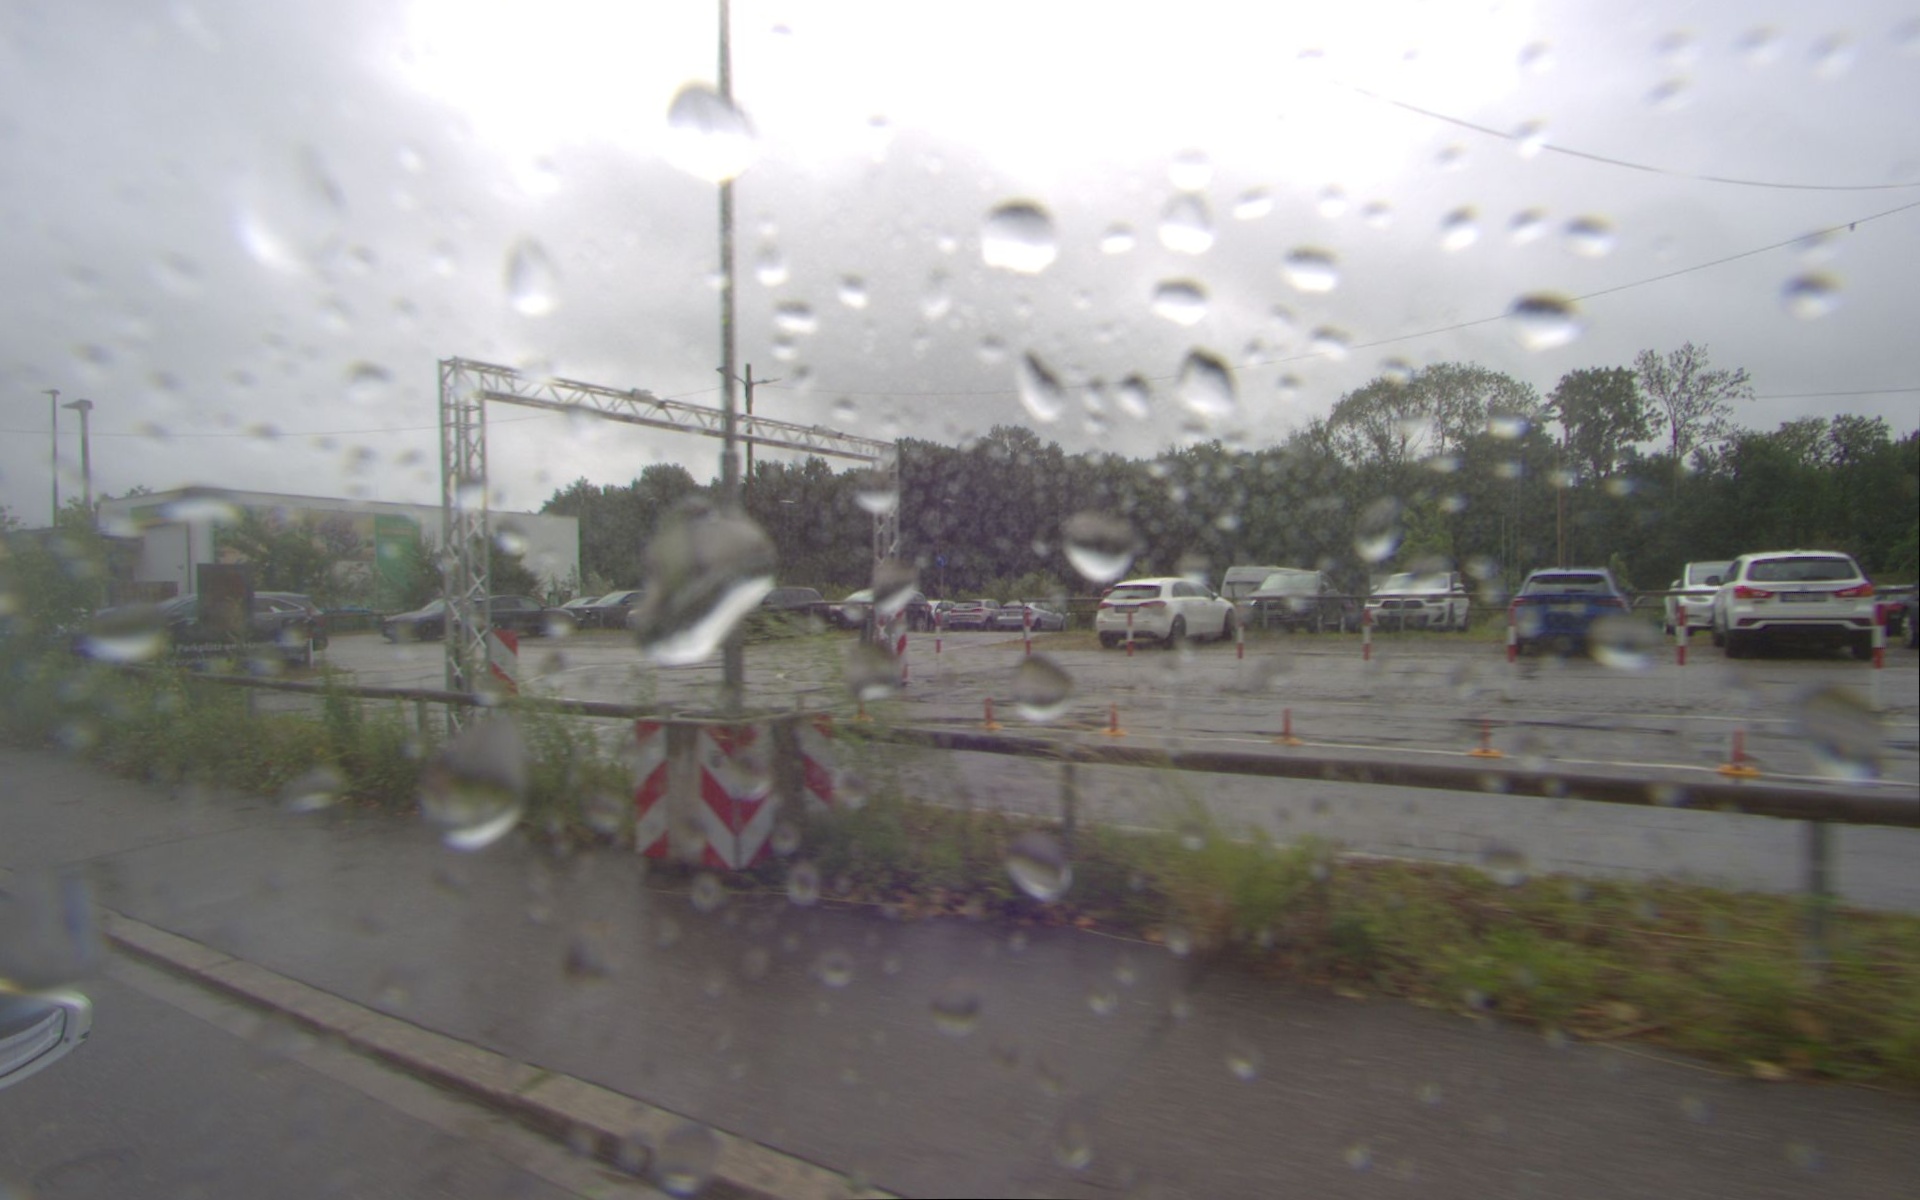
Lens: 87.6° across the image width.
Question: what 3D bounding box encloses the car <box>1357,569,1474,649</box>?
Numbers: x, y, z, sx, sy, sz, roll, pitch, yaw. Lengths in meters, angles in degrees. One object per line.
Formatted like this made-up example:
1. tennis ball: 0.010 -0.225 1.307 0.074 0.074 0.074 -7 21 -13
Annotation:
1. car: 10.790 0.165 23.562 1.900 1.627 4.048 -2 2 33

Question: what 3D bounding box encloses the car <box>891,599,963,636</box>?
1. car: -1.433 0.738 44.729 1.685 1.513 3.987 0 1 23

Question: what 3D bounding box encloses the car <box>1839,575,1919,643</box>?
1. car: 25.940 0.203 27.391 1.991 1.744 4.311 0 1 30

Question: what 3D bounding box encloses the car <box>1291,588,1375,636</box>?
1. car: 13.402 0.378 35.809 1.992 1.610 4.307 0 1 32

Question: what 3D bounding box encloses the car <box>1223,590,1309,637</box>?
1. car: 11.383 0.451 37.049 1.992 1.610 4.307 0 1 32

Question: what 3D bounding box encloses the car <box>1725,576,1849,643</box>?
1. car: 23.501 0.218 28.641 1.991 1.744 4.311 0 1 30

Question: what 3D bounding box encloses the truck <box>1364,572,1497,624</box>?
1. truck: 20.759 -0.104 44.295 5.019 2.167 2.064 0 2 38

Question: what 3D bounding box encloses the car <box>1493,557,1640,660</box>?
1. car: 10.616 0.088 17.385 1.902 1.504 4.030 -2 2 35

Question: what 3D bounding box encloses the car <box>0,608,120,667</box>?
1. car: -25.463 0.990 26.823 1.864 1.529 4.172 -2 -1 33

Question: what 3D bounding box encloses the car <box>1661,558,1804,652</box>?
1. car: 15.733 0.043 20.604 1.805 1.682 4.051 -2 2 30

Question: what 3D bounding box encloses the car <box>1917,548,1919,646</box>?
1. car: 15.350 0.017 14.372 1.763 1.605 3.761 -2 2 35

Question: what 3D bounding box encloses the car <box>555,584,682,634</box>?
1. car: -13.310 0.309 39.320 2.013 1.695 4.432 -2 2 30

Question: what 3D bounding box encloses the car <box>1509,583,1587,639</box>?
1. car: 18.499 0.294 31.479 1.992 1.610 4.308 0 1 32

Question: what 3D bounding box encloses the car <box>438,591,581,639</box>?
1. car: -15.229 0.505 34.025 1.972 1.504 3.978 -2 -1 33

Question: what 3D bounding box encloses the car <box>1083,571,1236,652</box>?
1. car: 4.461 0.207 21.989 1.902 1.504 3.815 -2 2 35

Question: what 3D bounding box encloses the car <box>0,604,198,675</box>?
1. car: -20.879 0.897 23.598 1.794 1.536 4.286 -2 -1 33

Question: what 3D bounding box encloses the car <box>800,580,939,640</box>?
1. car: -2.824 0.278 32.317 2.015 1.627 4.690 -2 2 32

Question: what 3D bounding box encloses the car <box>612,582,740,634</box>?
1. car: -10.739 0.269 38.163 2.015 1.695 4.430 -2 2 32

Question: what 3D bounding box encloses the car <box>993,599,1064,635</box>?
1. car: 2.941 0.679 42.262 1.760 1.419 3.987 0 1 23

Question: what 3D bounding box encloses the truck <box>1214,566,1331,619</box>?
1. truck: 15.000 -0.364 48.157 5.011 2.434 2.067 0 2 33

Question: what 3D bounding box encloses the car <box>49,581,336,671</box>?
1. car: -16.947 0.508 22.344 2.101 1.758 4.663 -1 0 37

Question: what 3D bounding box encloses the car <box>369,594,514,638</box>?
1. car: -17.786 0.551 34.509 1.972 1.427 3.978 -2 -1 33

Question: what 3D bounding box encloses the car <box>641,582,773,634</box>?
1. car: -9.070 0.252 36.300 2.015 1.627 4.430 -2 2 32

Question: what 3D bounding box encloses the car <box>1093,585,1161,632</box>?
1. car: 6.714 0.297 39.878 1.760 1.793 3.987 0 1 23

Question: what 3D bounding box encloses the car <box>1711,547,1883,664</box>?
1. car: 13.239 0.015 16.056 1.763 1.605 3.889 -2 2 35

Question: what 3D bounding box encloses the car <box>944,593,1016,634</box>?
1. car: 0.921 0.540 43.477 1.760 1.658 3.987 0 1 23

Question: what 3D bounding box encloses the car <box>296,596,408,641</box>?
1. car: -27.550 0.793 45.478 1.804 1.948 3.980 1 1 31

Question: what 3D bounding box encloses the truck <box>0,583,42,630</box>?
1. truck: -59.175 0.365 61.727 7.317 2.696 2.293 0 2 36

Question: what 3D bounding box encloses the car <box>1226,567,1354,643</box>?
1. car: 8.394 0.065 25.178 1.900 1.627 4.688 -2 2 33

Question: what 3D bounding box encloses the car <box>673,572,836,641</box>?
1. car: -5.564 0.181 27.759 1.987 1.738 4.617 -1 -1 27

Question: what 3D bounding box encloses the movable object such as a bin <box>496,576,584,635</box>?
1. movable object such as a bin: -22.573 0.291 53.958 1.971 3.032 3.979 0 1 32

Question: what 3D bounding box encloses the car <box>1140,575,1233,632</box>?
1. car: 8.659 0.089 37.948 1.992 2.025 4.772 0 1 32
